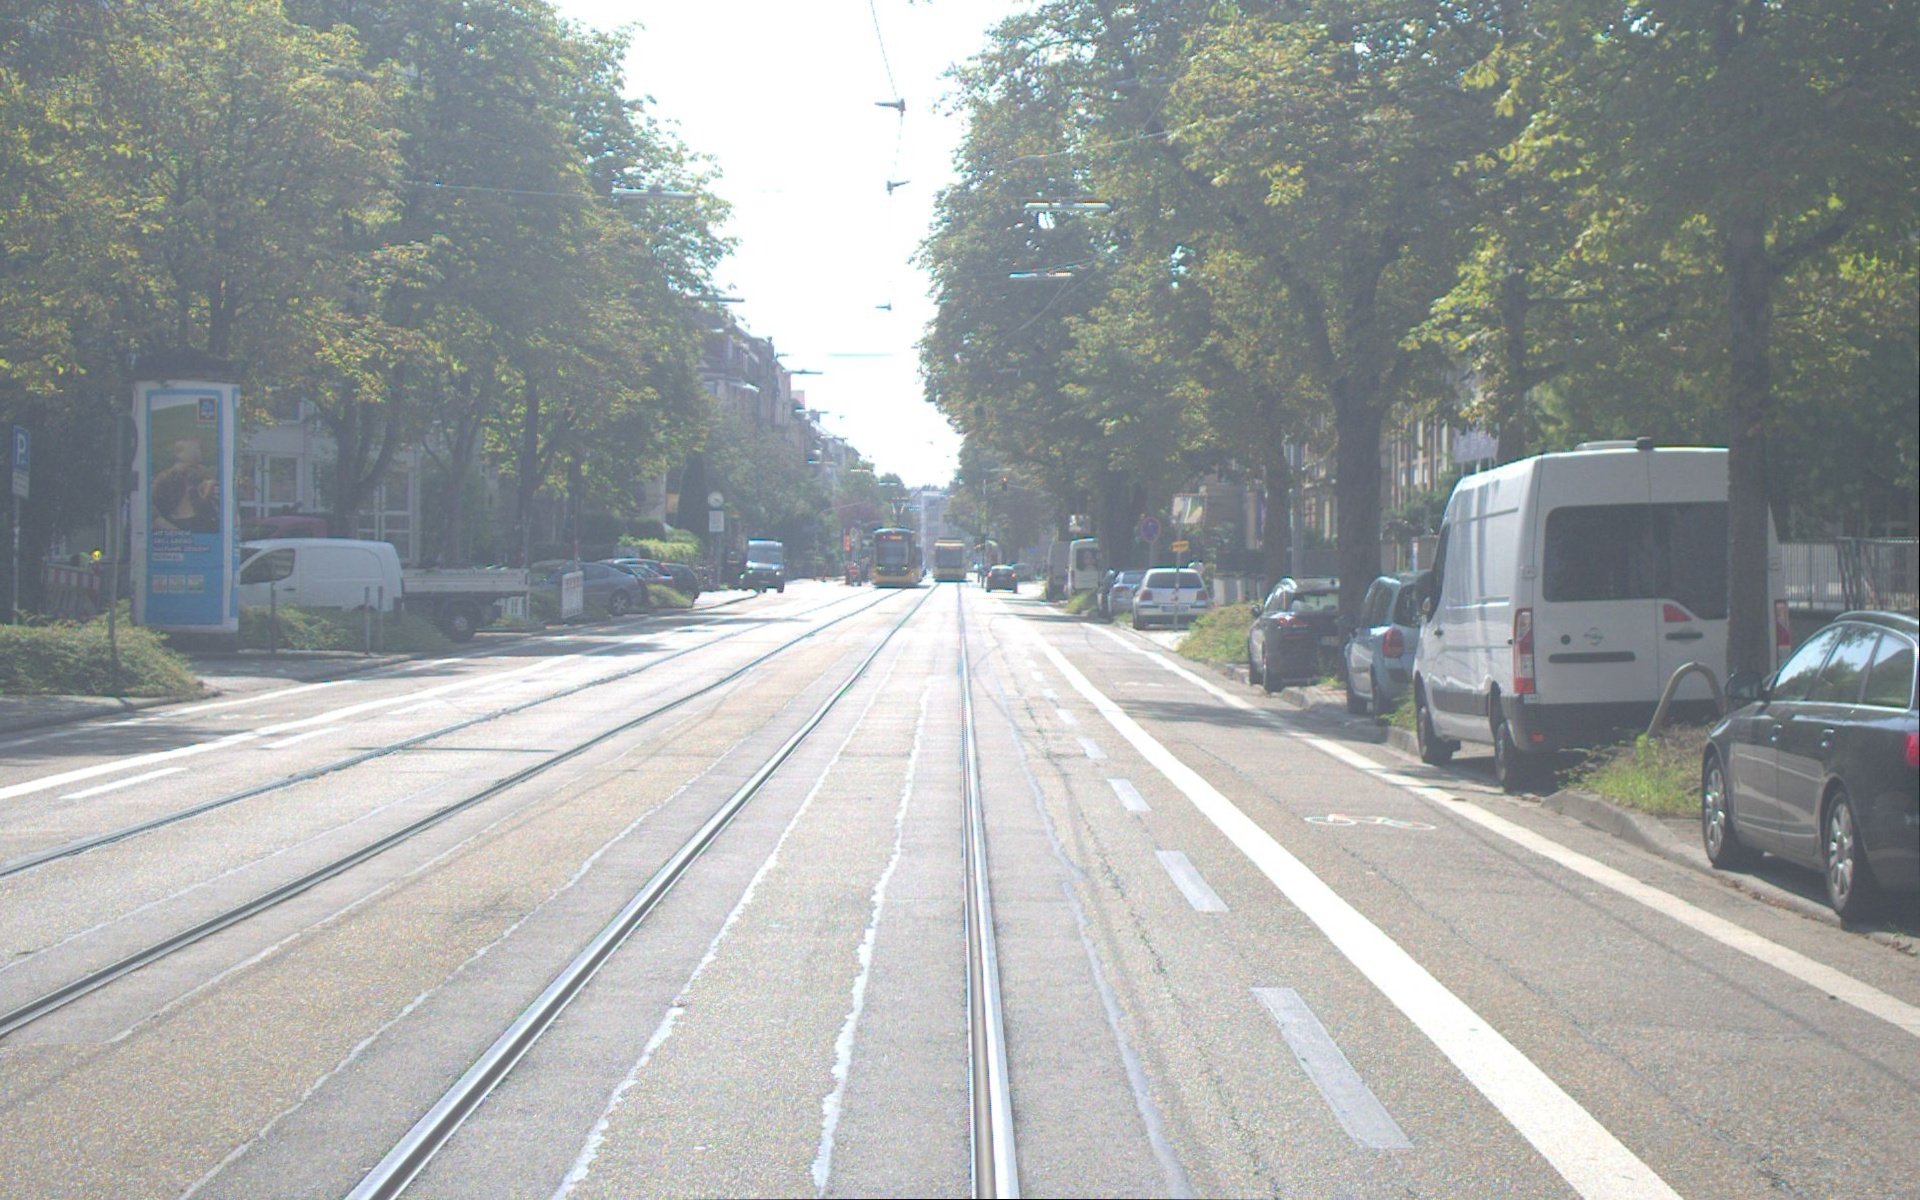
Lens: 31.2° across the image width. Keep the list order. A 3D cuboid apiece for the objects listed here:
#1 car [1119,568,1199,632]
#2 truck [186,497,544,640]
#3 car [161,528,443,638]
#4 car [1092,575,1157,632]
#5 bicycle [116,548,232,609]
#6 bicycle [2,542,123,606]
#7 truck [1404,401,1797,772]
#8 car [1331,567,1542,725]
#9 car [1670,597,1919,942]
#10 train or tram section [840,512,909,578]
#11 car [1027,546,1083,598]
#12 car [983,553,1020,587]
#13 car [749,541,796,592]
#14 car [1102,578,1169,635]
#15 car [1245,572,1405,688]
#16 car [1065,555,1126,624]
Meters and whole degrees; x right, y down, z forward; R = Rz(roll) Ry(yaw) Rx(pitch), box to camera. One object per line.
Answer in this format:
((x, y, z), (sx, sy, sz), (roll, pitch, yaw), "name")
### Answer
((4.594, -0.017, 79.755), (1.791, 1.441, 3.732), (0, 0, 3), "car")
((-10.507, -0.554, 61.014), (5.951, 2.426, 2.150), (0, 1, -39), "truck")
((-10.886, -0.284, 57.047), (4.274, 1.766, 1.824), (0, 1, -43), "car")
((4.733, 0.090, 99.442), (1.794, 1.571, 4.000), (1, 1, 2), "car")
((-16.440, -0.450, 71.891), (2.340, 1.165, 0.562), (2, 0, 17), "bicycle")
((-17.735, -0.512, 67.931), (2.341, 1.165, 0.601), (2, 0, 20), "bicycle")
((4.884, -0.110, 27.062), (1.916, 2.590, 5.593), (1, 0, -1), "truck")
((5.043, 0.462, 36.855), (1.674, 1.574, 4.171), (-1, 0, 0), "car")
((4.836, 0.730, 16.973), (1.685, 1.435, 4.803), (1, 0, 1), "car")
((-5.005, -3.236, 202.958), (3.497, 3.691, 12.412), (1, 1, 1), "train or tram section")
((4.093, -1.211, 148.323), (1.993, 2.226, 4.001), (0, 1, -5), "car")
((2.270, -1.632, 188.155), (1.993, 1.795, 4.000), (1, 0, 0), "car")
((-9.345, -1.665, 171.176), (2.242, 2.433, 4.000), (1, 0, -3), "car")
((4.761, 0.173, 93.530), (1.641, 1.506, 3.641), (1, 0, 0), "car")
((4.863, 0.364, 46.320), (1.674, 1.453, 4.664), (0, 1, 0), "car")
((4.762, -0.385, 121.260), (1.993, 2.357, 4.000), (1, 0, 0), "car")
